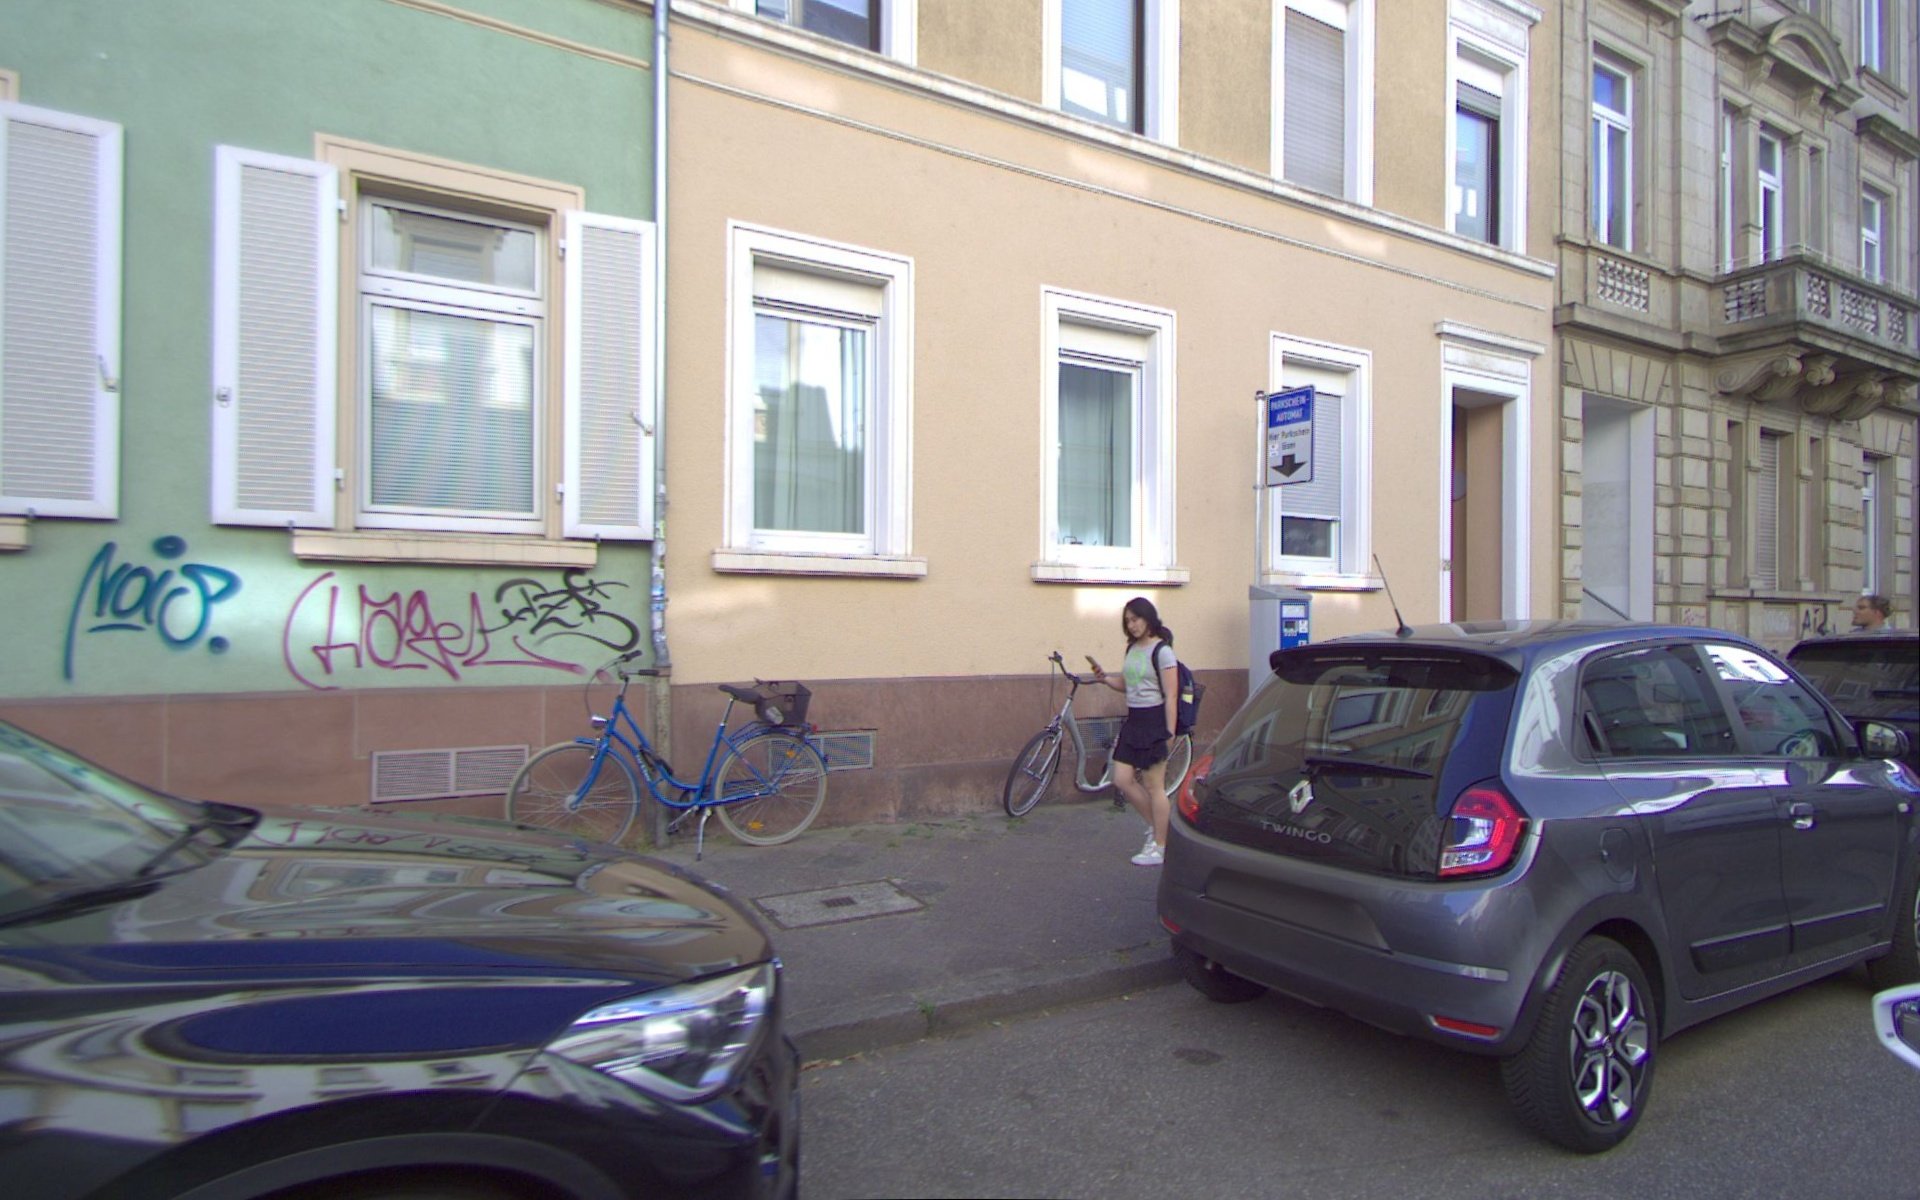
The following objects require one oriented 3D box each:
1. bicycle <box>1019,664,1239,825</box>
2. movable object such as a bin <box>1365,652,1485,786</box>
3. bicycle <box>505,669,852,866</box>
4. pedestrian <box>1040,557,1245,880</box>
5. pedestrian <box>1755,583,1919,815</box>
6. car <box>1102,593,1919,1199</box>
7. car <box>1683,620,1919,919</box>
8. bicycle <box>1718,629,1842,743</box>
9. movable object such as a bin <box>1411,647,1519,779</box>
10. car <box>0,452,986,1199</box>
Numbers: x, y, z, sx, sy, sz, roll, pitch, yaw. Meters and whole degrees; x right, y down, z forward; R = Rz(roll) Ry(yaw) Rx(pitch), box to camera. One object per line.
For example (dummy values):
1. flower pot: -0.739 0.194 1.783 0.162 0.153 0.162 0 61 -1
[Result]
1. bicycle: 1.296 1.020 7.485 1.817 1.070 0.399 2 -2 -33
2. movable object such as a bin: 4.184 1.039 9.057 0.675 1.103 0.731 -1 0 -33
3. bicycle: -1.605 0.938 5.896 1.888 1.042 0.360 2 -1 -20
4. pedestrian: 1.070 0.648 5.955 0.873 1.737 0.761 2 0 -30
5. pedestrian: 7.560 0.811 8.641 0.872 1.860 0.862 2 -2 -28
6. car: 2.644 0.816 4.234 3.931 1.574 1.608 1 -1 -30
7. car: 6.781 0.931 6.480 4.312 1.551 1.707 1 -2 -28
8. bicycle: 9.938 1.019 12.159 1.843 1.294 0.508 2 -2 -28
9. movable object such as a bin: 4.709 1.026 9.377 0.578 1.147 0.715 2 -2 -33
10. car: -2.351 0.669 1.439 4.546 1.636 1.737 1 -2 -29
